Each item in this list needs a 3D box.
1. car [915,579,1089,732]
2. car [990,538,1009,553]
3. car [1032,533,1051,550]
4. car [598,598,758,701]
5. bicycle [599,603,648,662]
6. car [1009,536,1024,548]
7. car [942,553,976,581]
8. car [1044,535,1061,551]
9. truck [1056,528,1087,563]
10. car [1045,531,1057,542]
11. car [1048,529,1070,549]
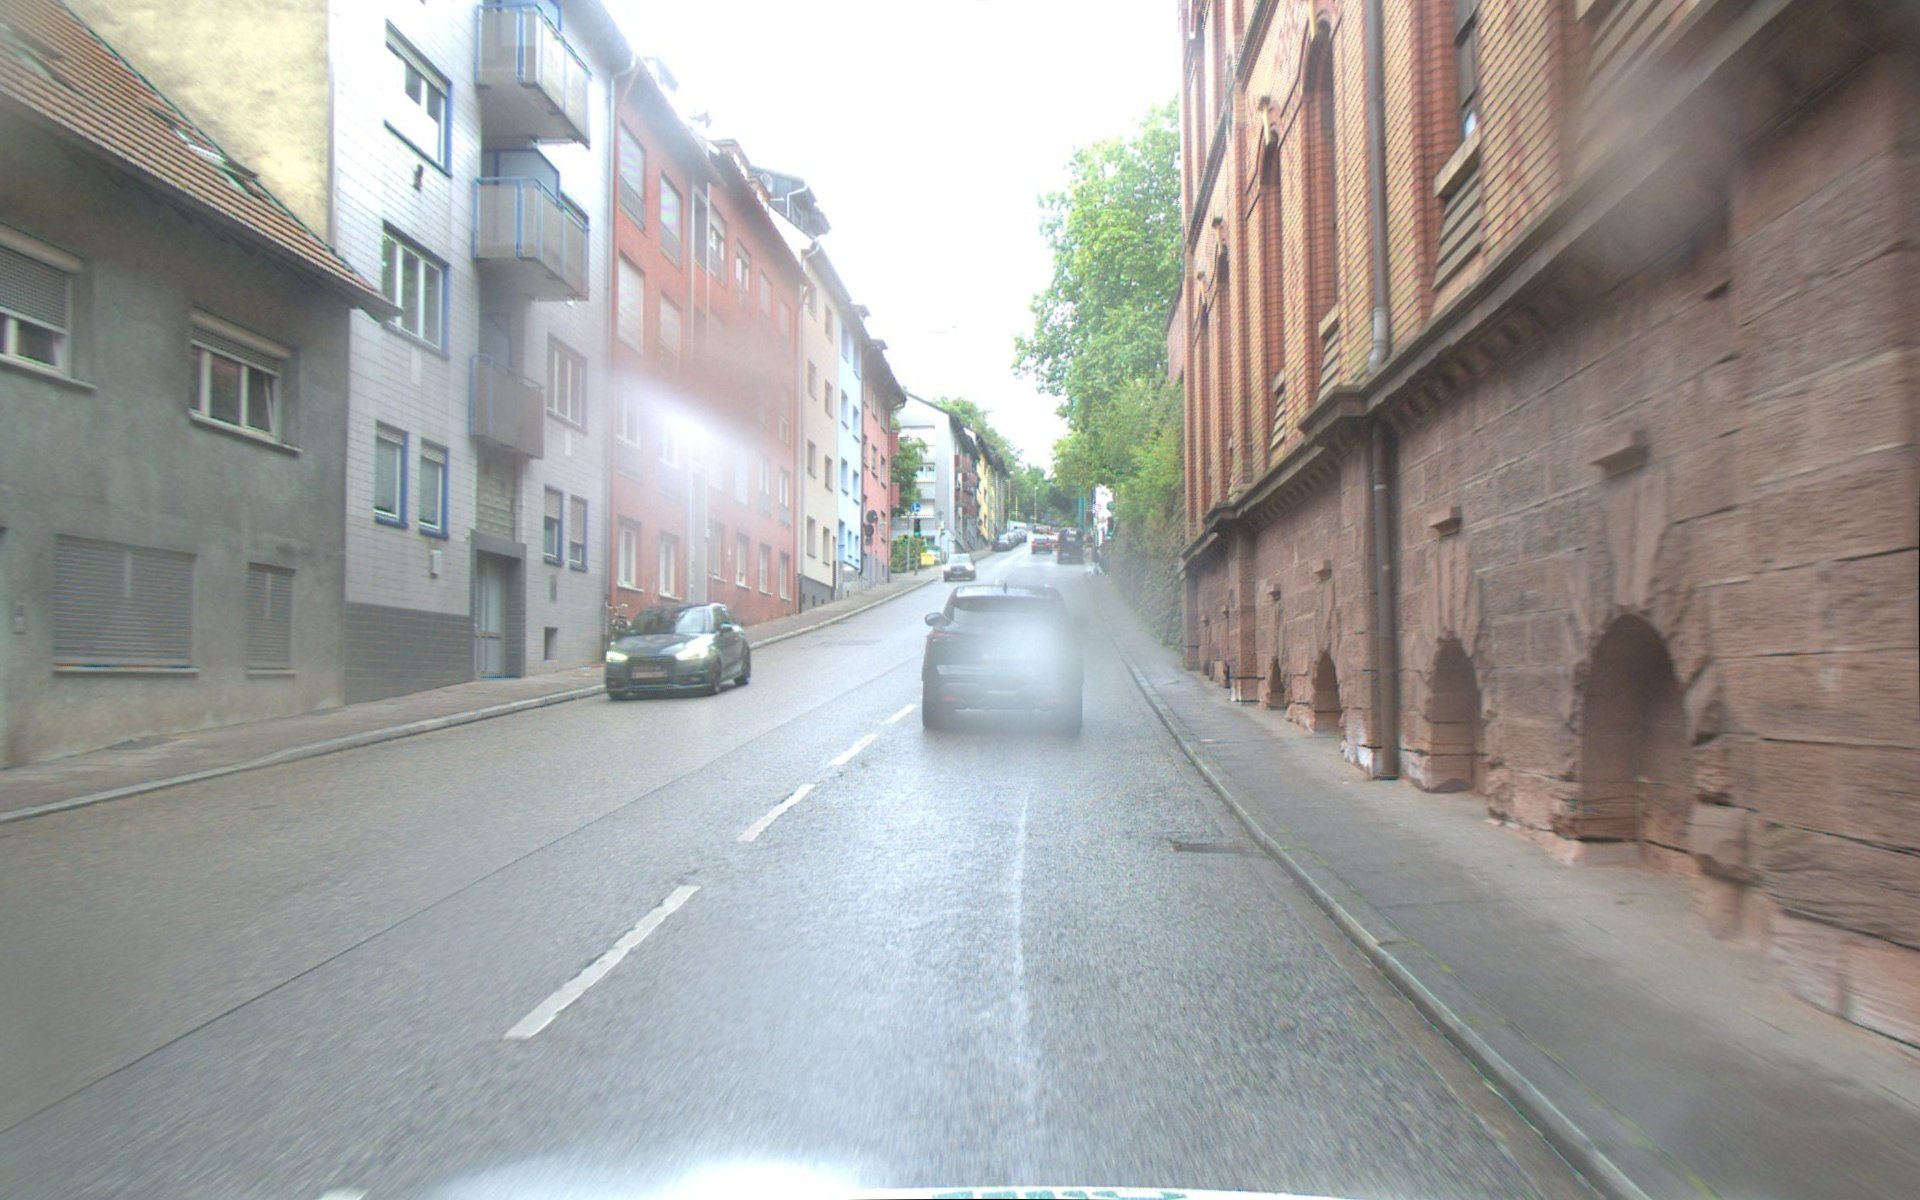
[{"bbox_3d":[0.504,0.581,19.551,1.842,1.621,3.922,0,0,2],"label":"car"},{"bbox_3d":[4.030,-5.548,168.810,1.756,1.536,4.002,0,1,4],"label":"car"},{"bbox_3d":[7.738,-5.534,157.039,1.756,1.536,4.002,0,1,4],"label":"car"},{"bbox_3d":[-4.346,0.719,26.050,1.610,1.402,3.852,-2,0,3],"label":"car"},{"bbox_3d":[-6.815,0.643,33.547,0.488,1.127,1.801,0,1,5],"label":"bicycle"},{"bbox_3d":[7.270,-7.475,213.283,1.756,1.536,4.002,0,1,4],"label":"car"},{"bbox_3d":[-0.047,-1.850,92.101,1.678,1.473,3.923,-1,2,3],"label":"car"},{"bbox_3d":[9.527,-5.809,169.924,1.756,1.536,4.002,0,1,4],"label":"car"},{"bbox_3d":[8.306,-4.041,123.629,2.241,2.482,4.455,0,1,4],"label":"truck"},{"bbox_3d":[13.583,-9.477,245.838,1.756,1.536,4.002,0,1,4],"label":"car"},{"bbox_3d":[8.290,-5.096,138.452,1.756,1.536,4.503,0,1,4],"label":"car"}]
